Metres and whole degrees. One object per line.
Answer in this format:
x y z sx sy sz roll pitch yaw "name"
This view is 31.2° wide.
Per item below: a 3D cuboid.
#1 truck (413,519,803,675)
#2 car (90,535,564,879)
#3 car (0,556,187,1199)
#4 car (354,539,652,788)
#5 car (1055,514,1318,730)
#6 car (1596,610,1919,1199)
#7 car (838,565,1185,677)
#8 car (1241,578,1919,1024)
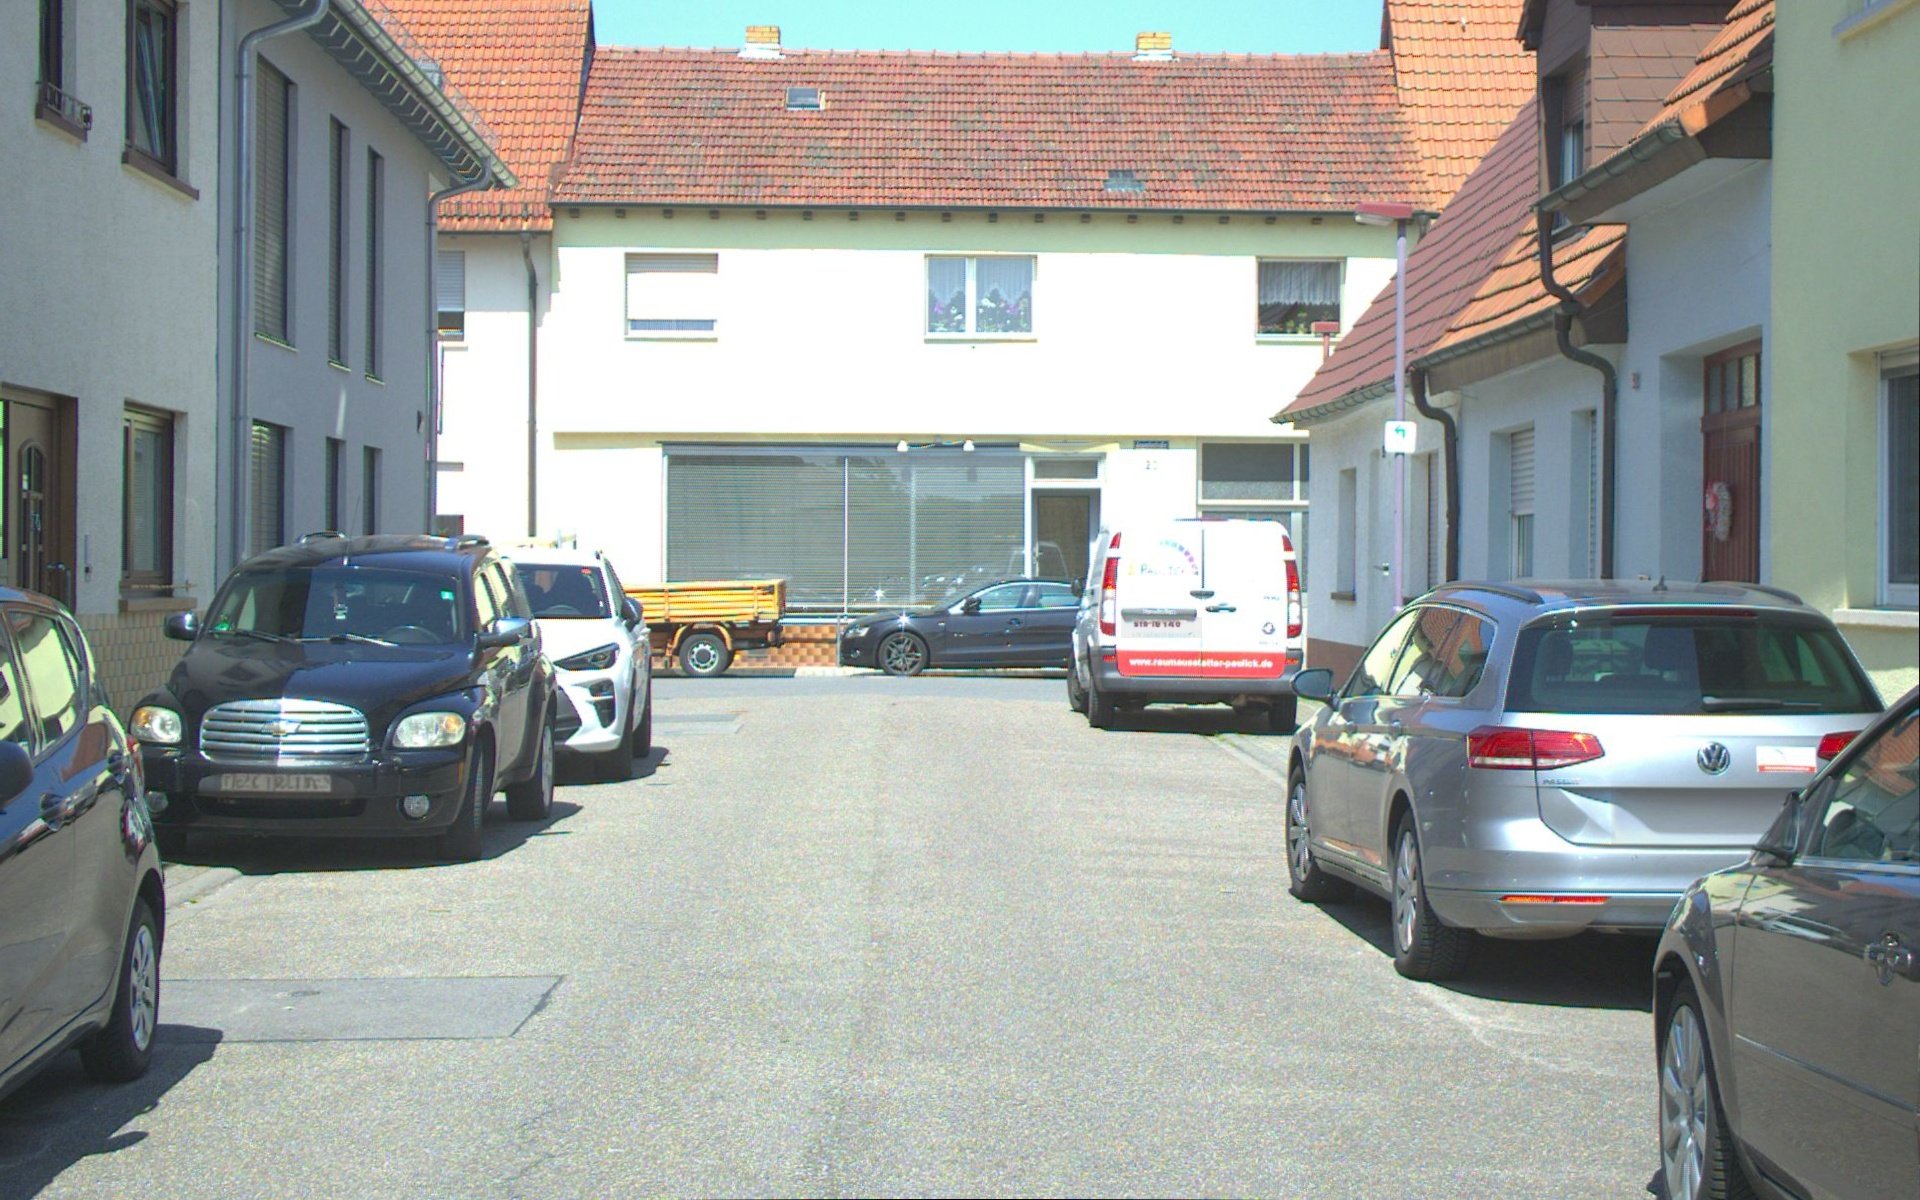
-4.720 -0.042 46.740 5.063 2.007 2.189 1 0 0 "truck"
-3.219 0.489 18.221 1.722 1.610 3.989 -1 0 1 "car"
-3.082 0.669 8.369 1.640 1.532 3.943 -1 0 -2 "car"
-3.184 0.397 24.664 1.774 1.610 4.349 -1 0 -3 "car"
2.040 0.168 32.508 2.012 1.832 5.265 1 0 -1 "car"
2.429 0.779 6.034 1.696 1.430 4.103 1 0 -2 "car"
0.664 0.302 46.847 4.616 1.390 1.928 1 -3 -2 "car"
2.354 0.663 13.921 1.838 1.443 4.776 1 0 -2 "car"
